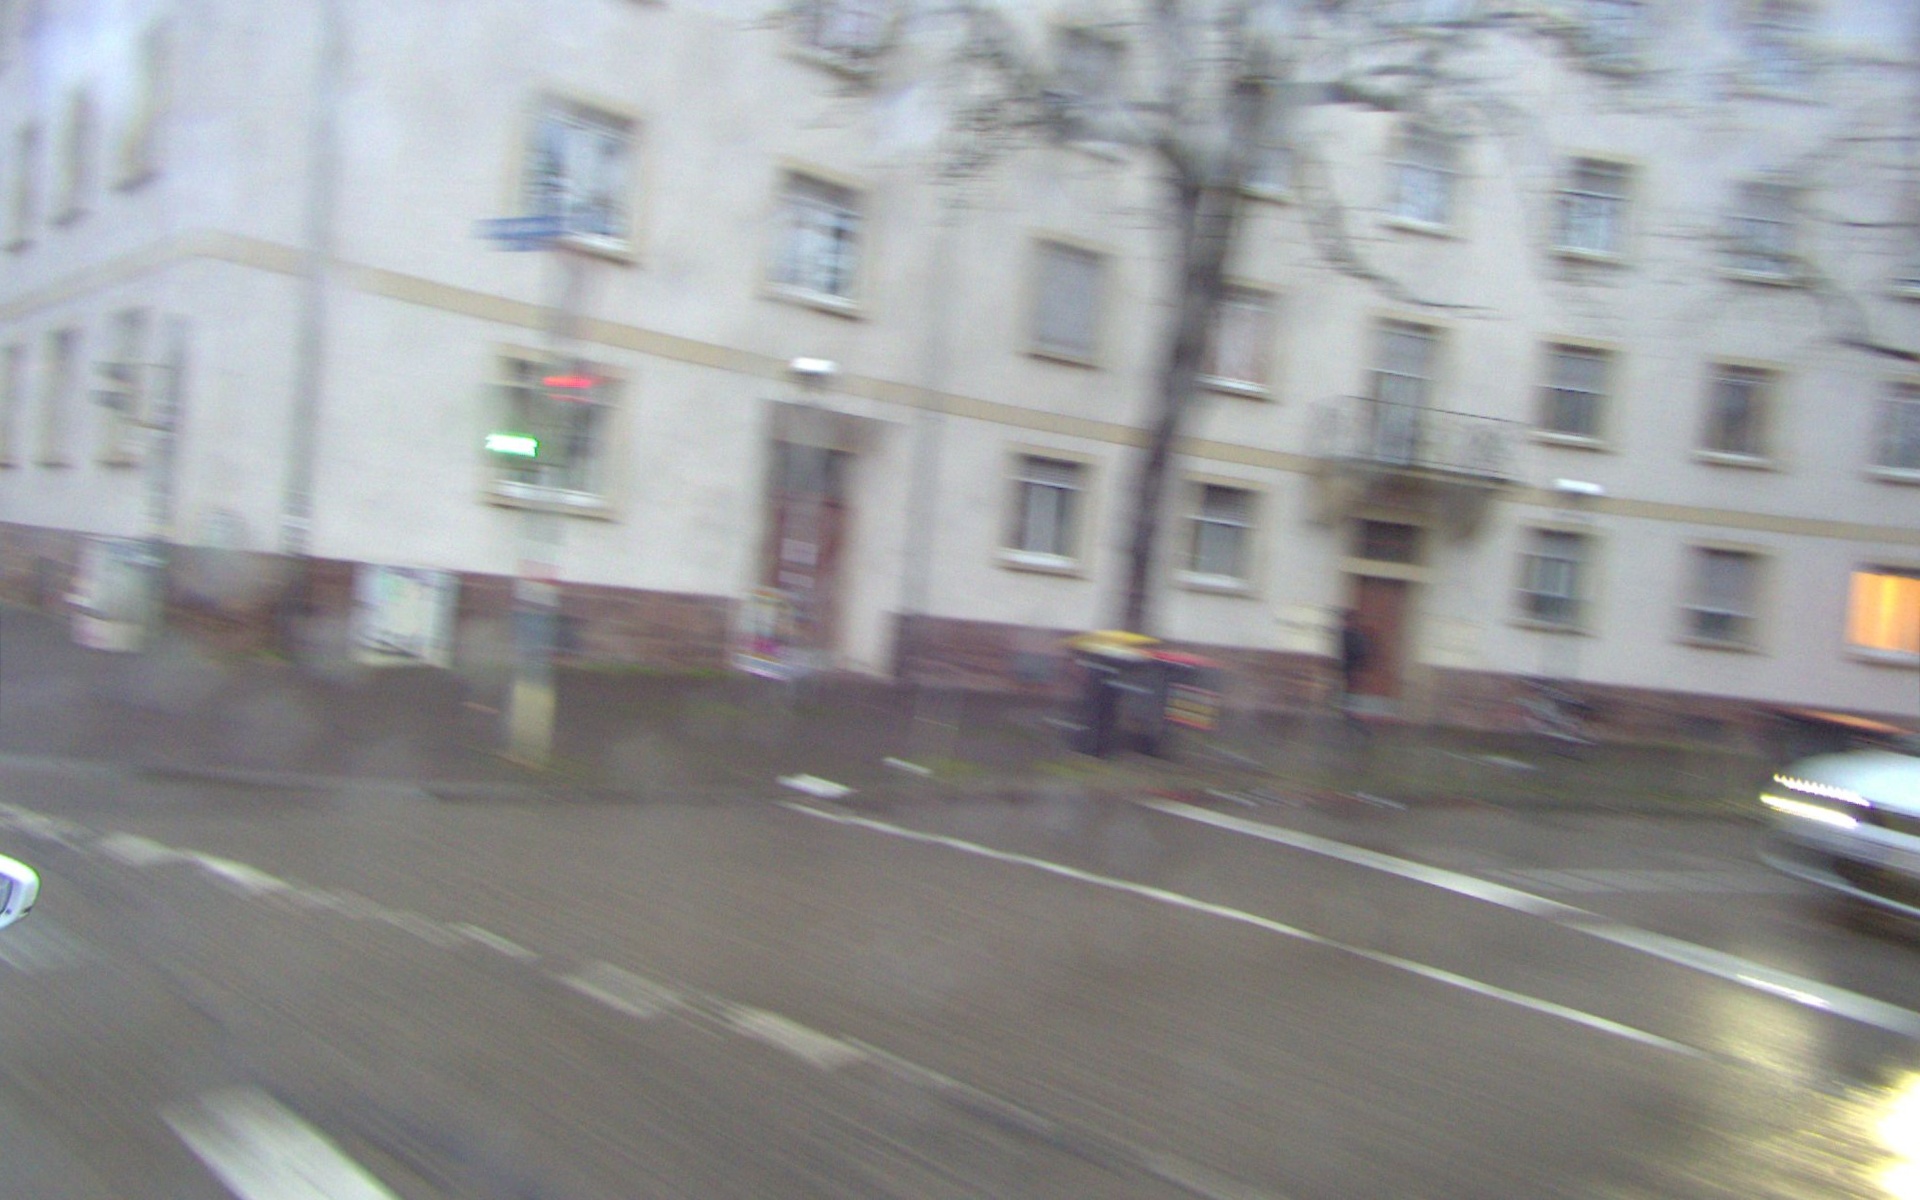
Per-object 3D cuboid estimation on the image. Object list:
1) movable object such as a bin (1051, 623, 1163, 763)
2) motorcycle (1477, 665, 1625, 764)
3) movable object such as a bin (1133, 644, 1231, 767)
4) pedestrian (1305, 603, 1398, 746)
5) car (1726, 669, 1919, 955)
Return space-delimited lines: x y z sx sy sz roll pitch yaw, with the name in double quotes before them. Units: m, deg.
"movable object such as a bin" 1.456 0.919 10.035 0.840 1.266 0.521 7 -1 -11
"motorcycle" 8.159 1.573 13.920 1.573 1.121 0.569 6 4 0
"movable object such as a bin" 2.244 1.059 10.218 0.690 1.133 0.538 7 -1 -11
"pedestrian" 4.882 0.913 12.592 0.702 1.682 0.687 5 2 -4
"car" 7.882 1.462 6.315 4.666 1.530 1.897 5 1 -3
